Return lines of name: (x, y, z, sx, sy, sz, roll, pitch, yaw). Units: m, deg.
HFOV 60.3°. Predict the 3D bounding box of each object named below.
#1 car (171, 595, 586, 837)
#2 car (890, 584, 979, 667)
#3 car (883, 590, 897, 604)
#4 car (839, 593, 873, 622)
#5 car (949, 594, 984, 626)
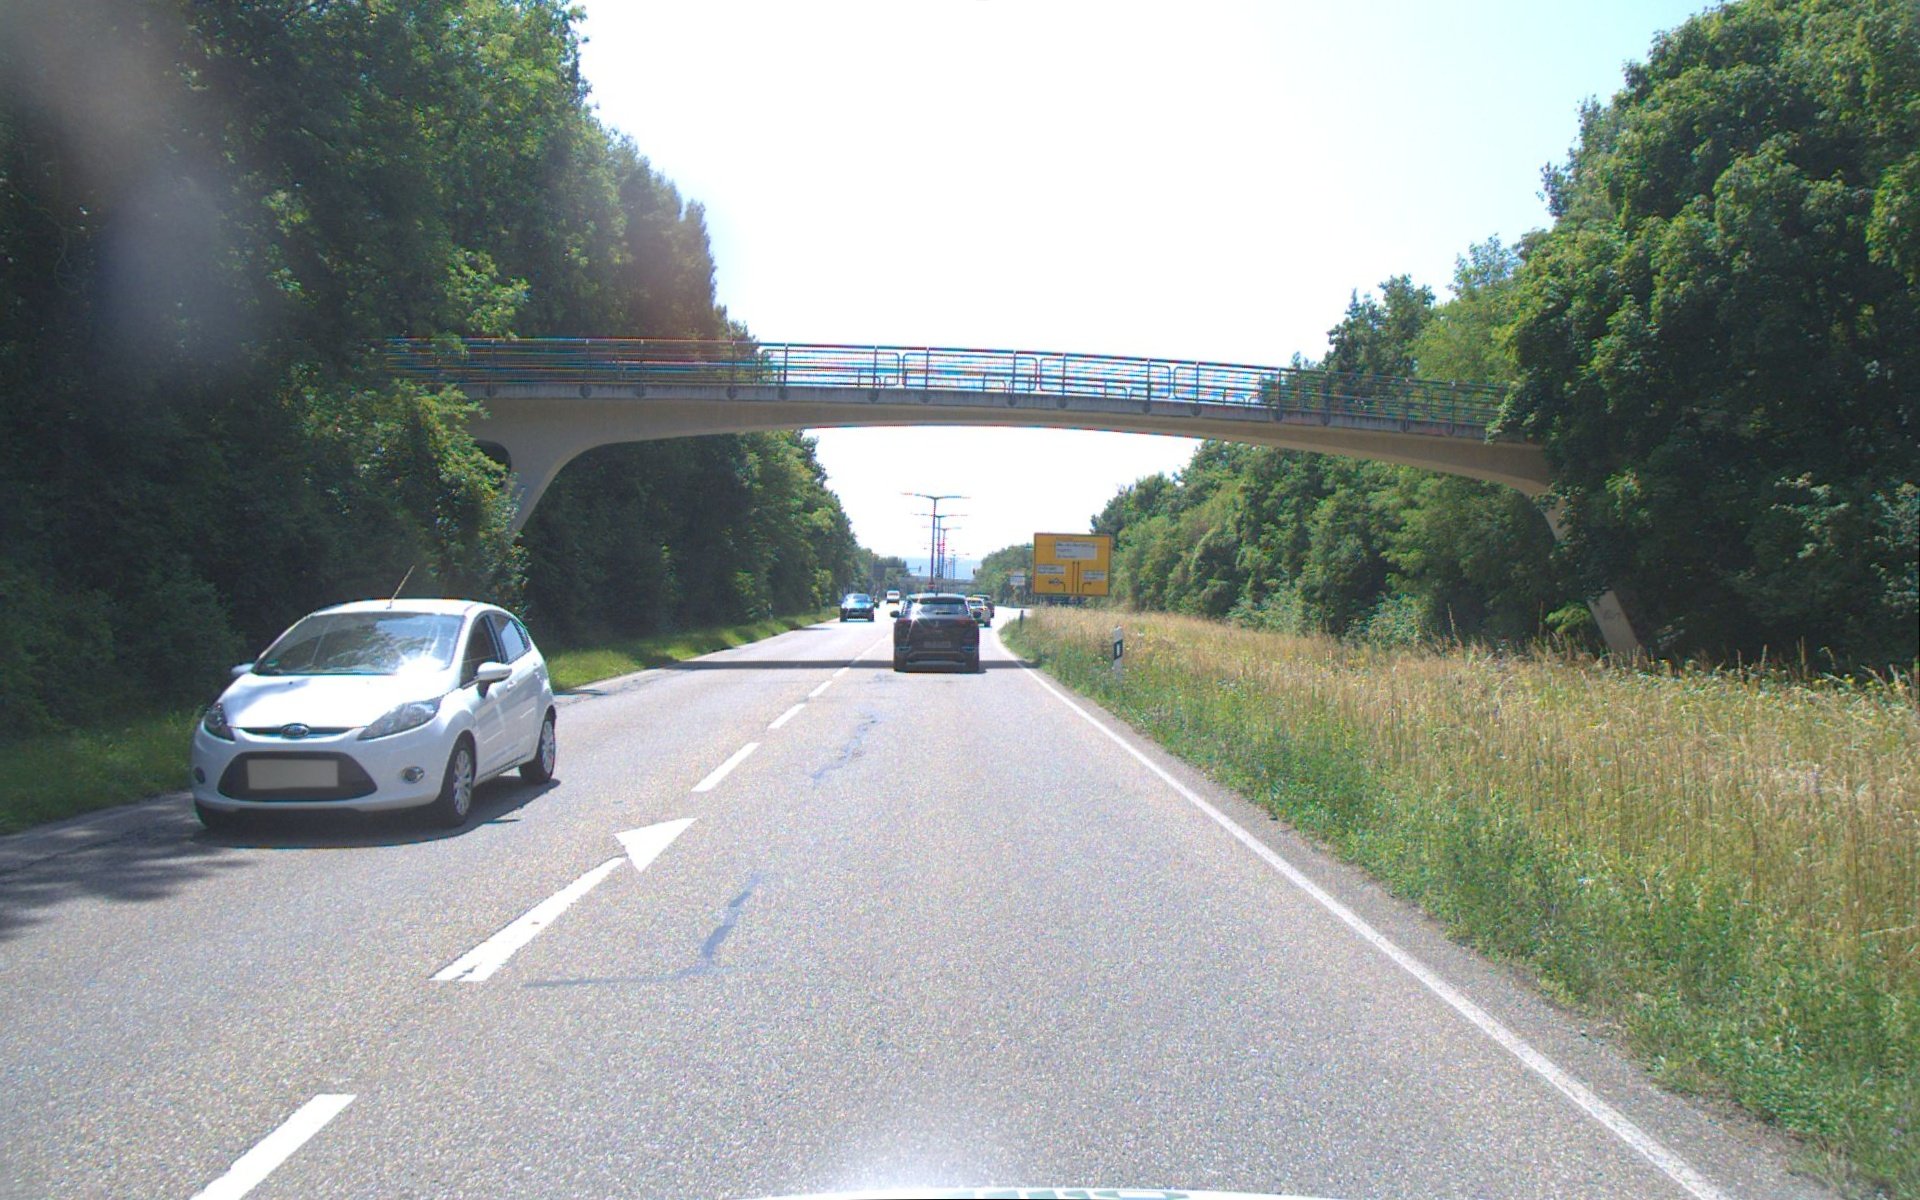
car: (-3.968, 0.701, 11.961, 1.643, 1.458, 3.772, 0, 0, 0)
car: (-0.514, 0.507, 34.492, 1.719, 1.583, 3.999, 2, 0, 0)
car: (-8.932, -0.395, 212.213, 1.696, 1.717, 4.094, 0, 0, -1)
car: (-6.138, 0.419, 98.120, 1.786, 1.618, 4.419, -1, 0, -1)
car: (0.373, 0.524, 85.809, 1.760, 1.611, 4.001, 0, 0, 1)
